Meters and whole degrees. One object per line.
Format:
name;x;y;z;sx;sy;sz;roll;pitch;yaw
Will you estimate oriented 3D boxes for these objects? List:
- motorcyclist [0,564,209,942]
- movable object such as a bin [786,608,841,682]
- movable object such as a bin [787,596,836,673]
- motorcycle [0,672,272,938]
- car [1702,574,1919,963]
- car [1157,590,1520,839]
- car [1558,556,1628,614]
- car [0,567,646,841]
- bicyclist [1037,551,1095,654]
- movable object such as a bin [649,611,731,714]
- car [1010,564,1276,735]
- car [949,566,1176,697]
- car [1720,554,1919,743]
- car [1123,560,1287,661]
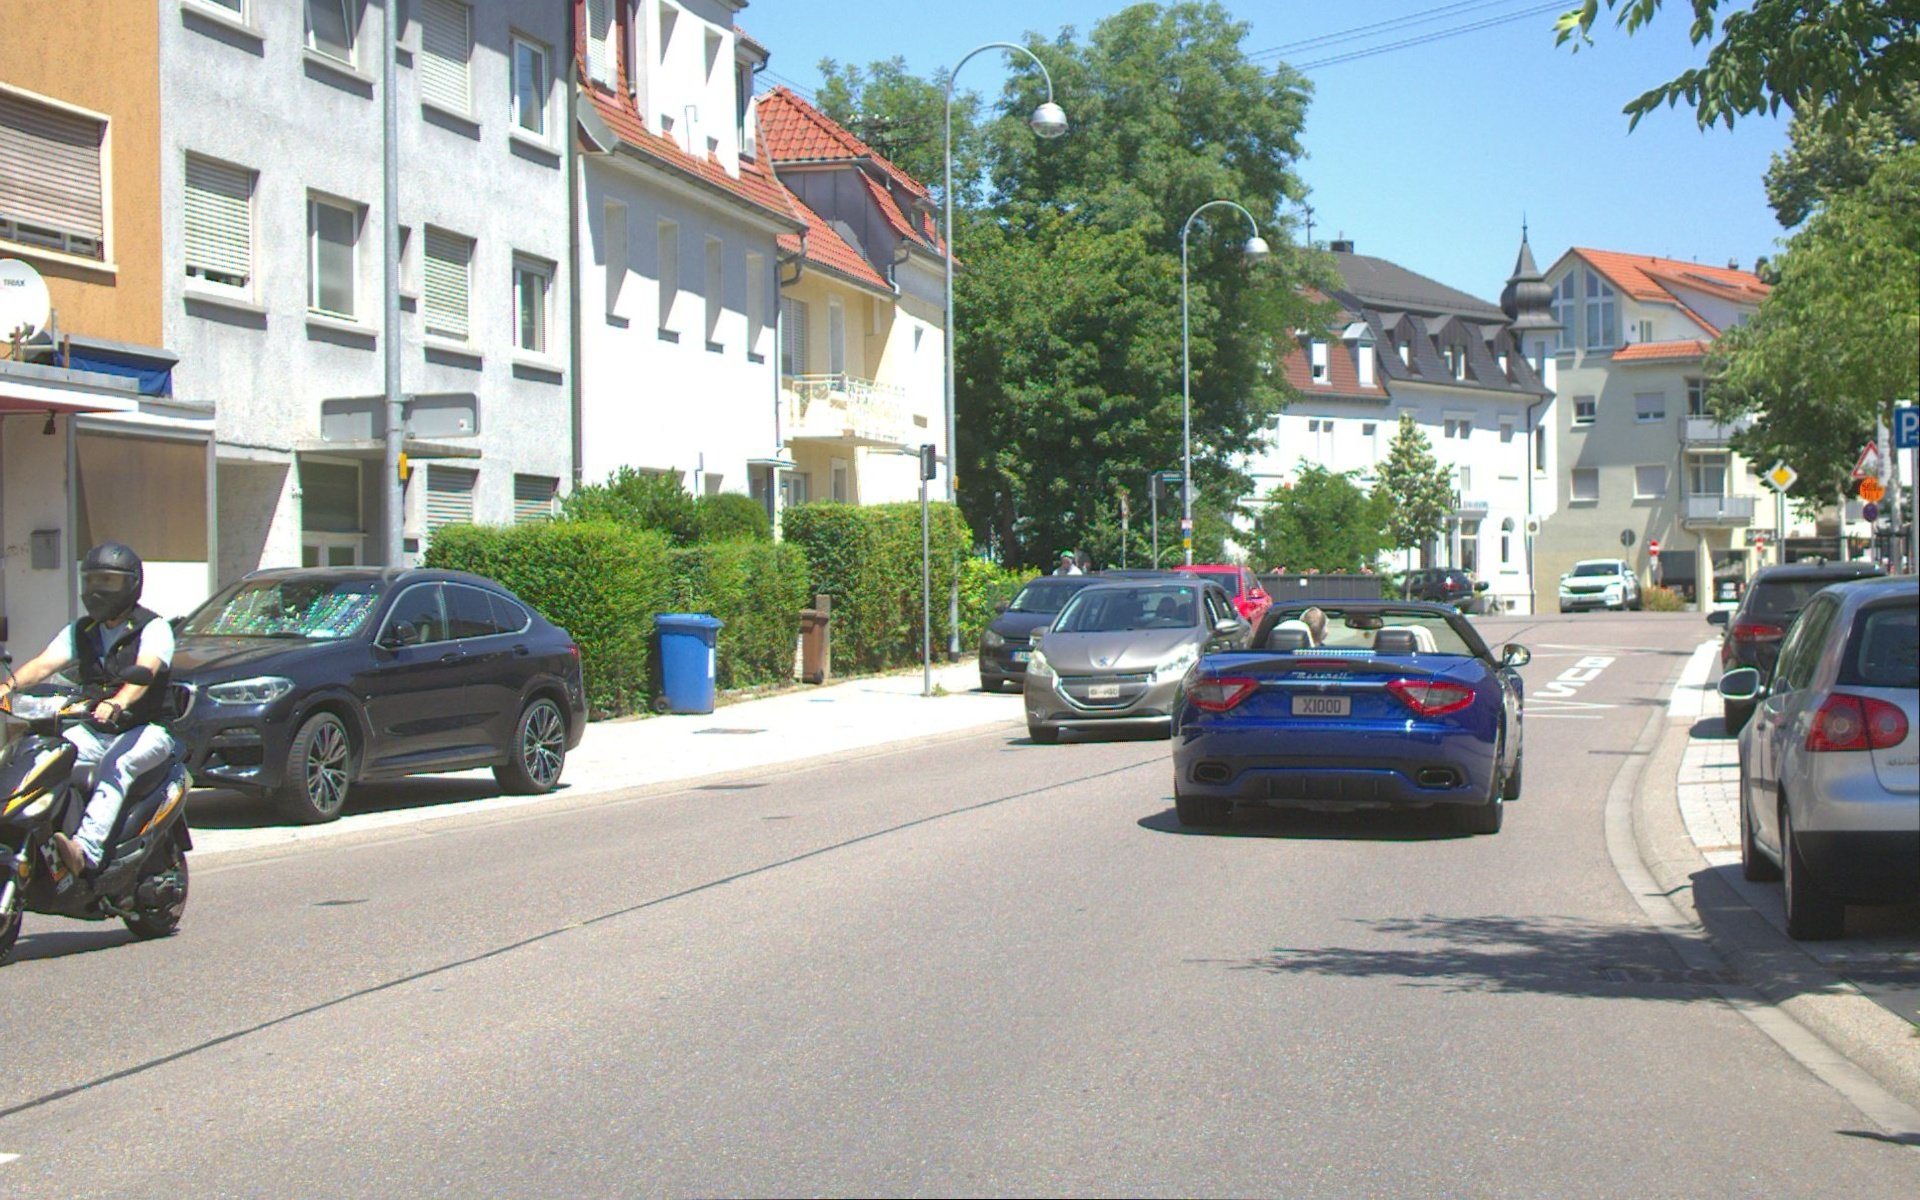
motorcyclist;-3.623;0.616;14.323;0.602;1.519;0.895;-1;0;15
movable object such as a bin;-1.845;0.564;43.352;0.494;0.908;0.705;-1;1;13
movable object such as a bin;-1.943;0.444;44.988;0.467;0.987;0.614;-1;1;13
motorcycle;-3.591;0.827;14.470;0.606;0.997;1.798;-1;0;15
car;4.376;0.630;15.253;1.814;1.472;4.505;-2;0;9
car;2.457;0.623;21.331;1.871;1.337;4.594;1;0;11
car;18.487;-0.460;100.306;1.878;1.591;4.357;-2;0;12
car;-4.285;0.609;23.817;2.087;1.609;5.103;1;1;22
bicyclist;1.733;0.039;55.979;0.782;1.653;0.835;-1;0;11
movable object such as a bin;-2.849;0.655;36.321;0.673;1.044;0.652;-2;0;12
car;1.794;0.423;32.444;1.732;1.407;3.998;-2;1;14
car;1.348;0.349;43.318;1.789;1.454;4.194;2;2;17
car;7.911;0.380;31.348;1.834;1.499;5.061;-3;0;13
car;3.994;0.127;55.367;1.879;1.474;4.735;2;1;13
